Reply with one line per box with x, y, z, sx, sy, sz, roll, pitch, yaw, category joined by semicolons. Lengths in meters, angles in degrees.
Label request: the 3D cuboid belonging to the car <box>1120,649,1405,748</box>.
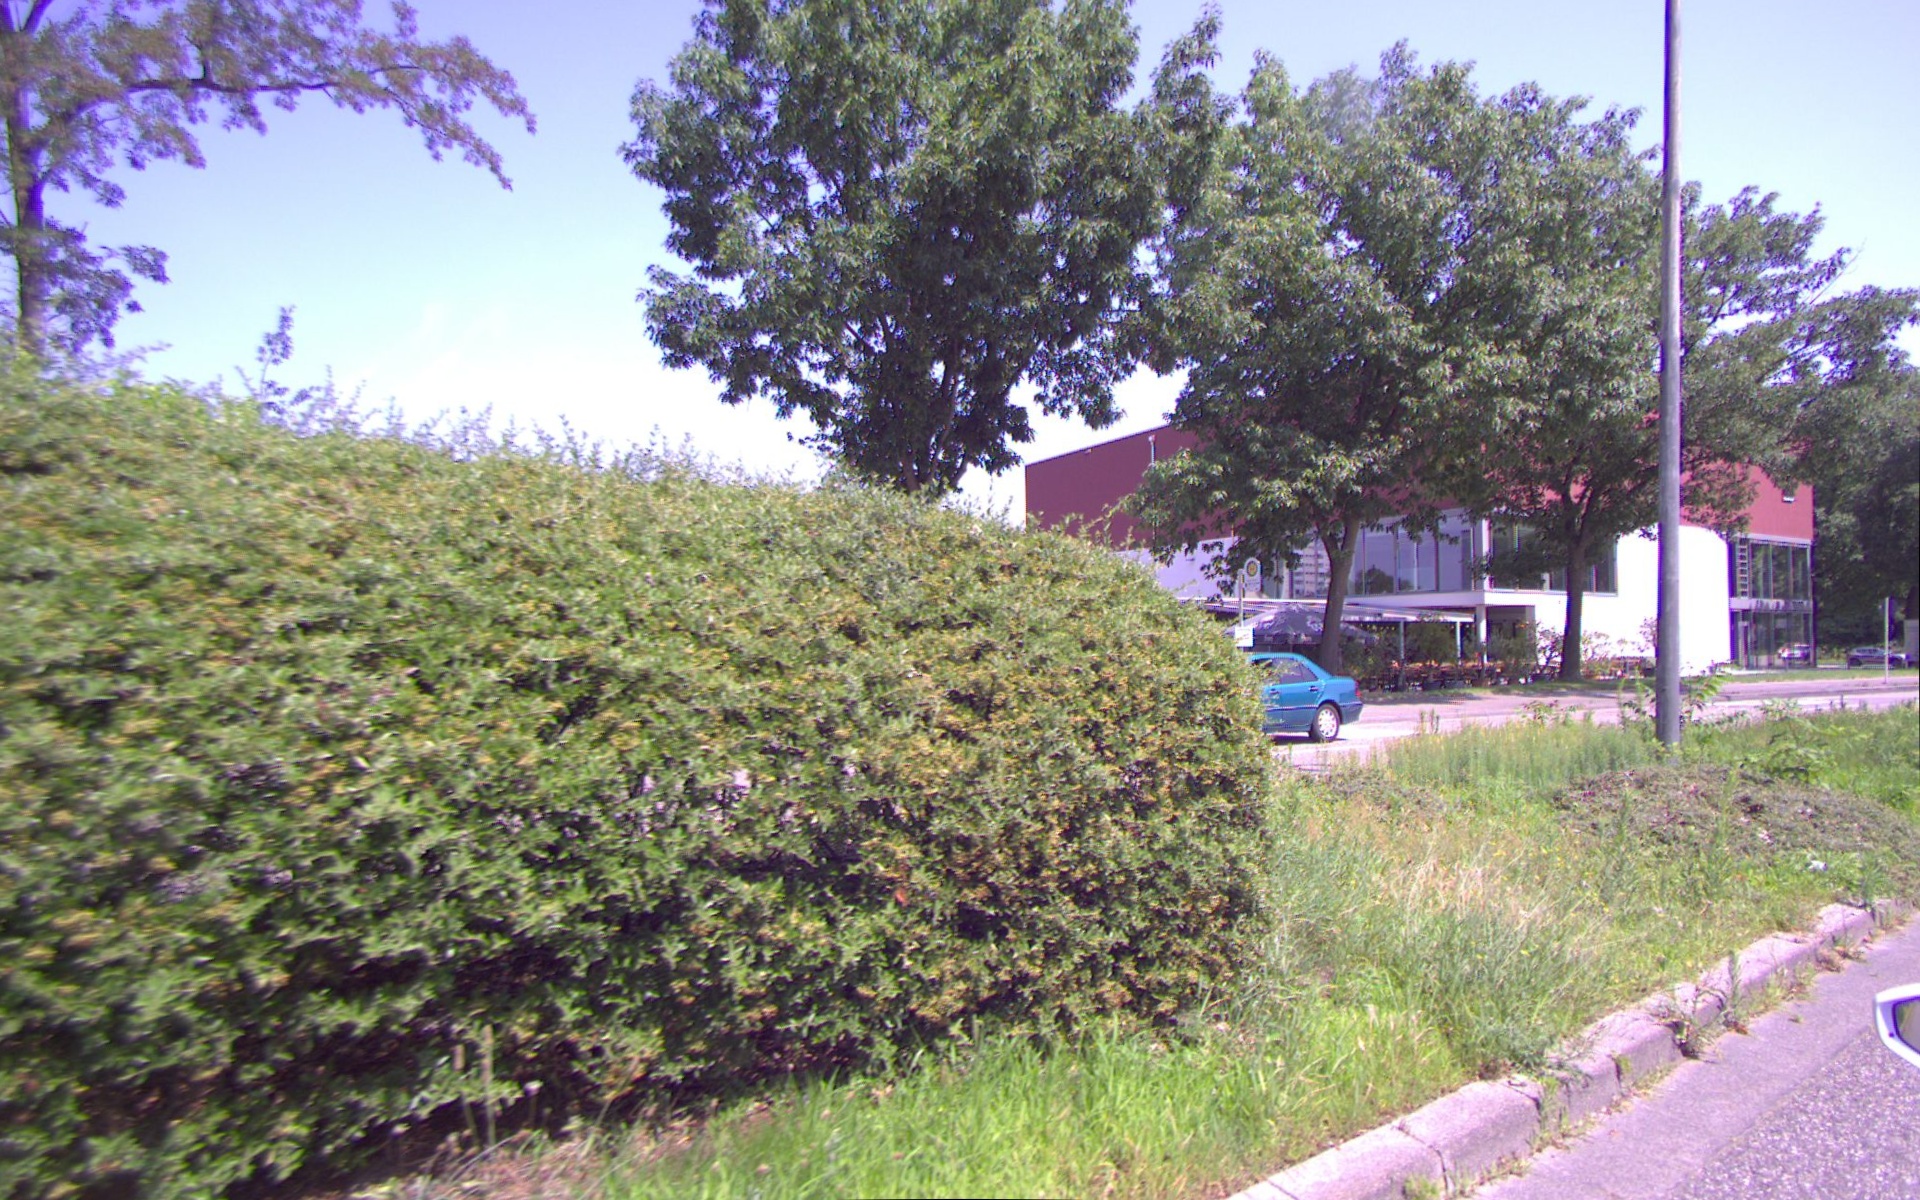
4.906;1.537;16.174;4.467;1.386;1.813;1;-6;-30;car

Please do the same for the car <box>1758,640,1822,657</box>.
71.250;4.196;86.256;1.574;1.416;3.960;1;-3;-36;car

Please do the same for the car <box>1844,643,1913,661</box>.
76.138;4.308;83.273;1.574;1.416;3.960;1;-3;-36;car
